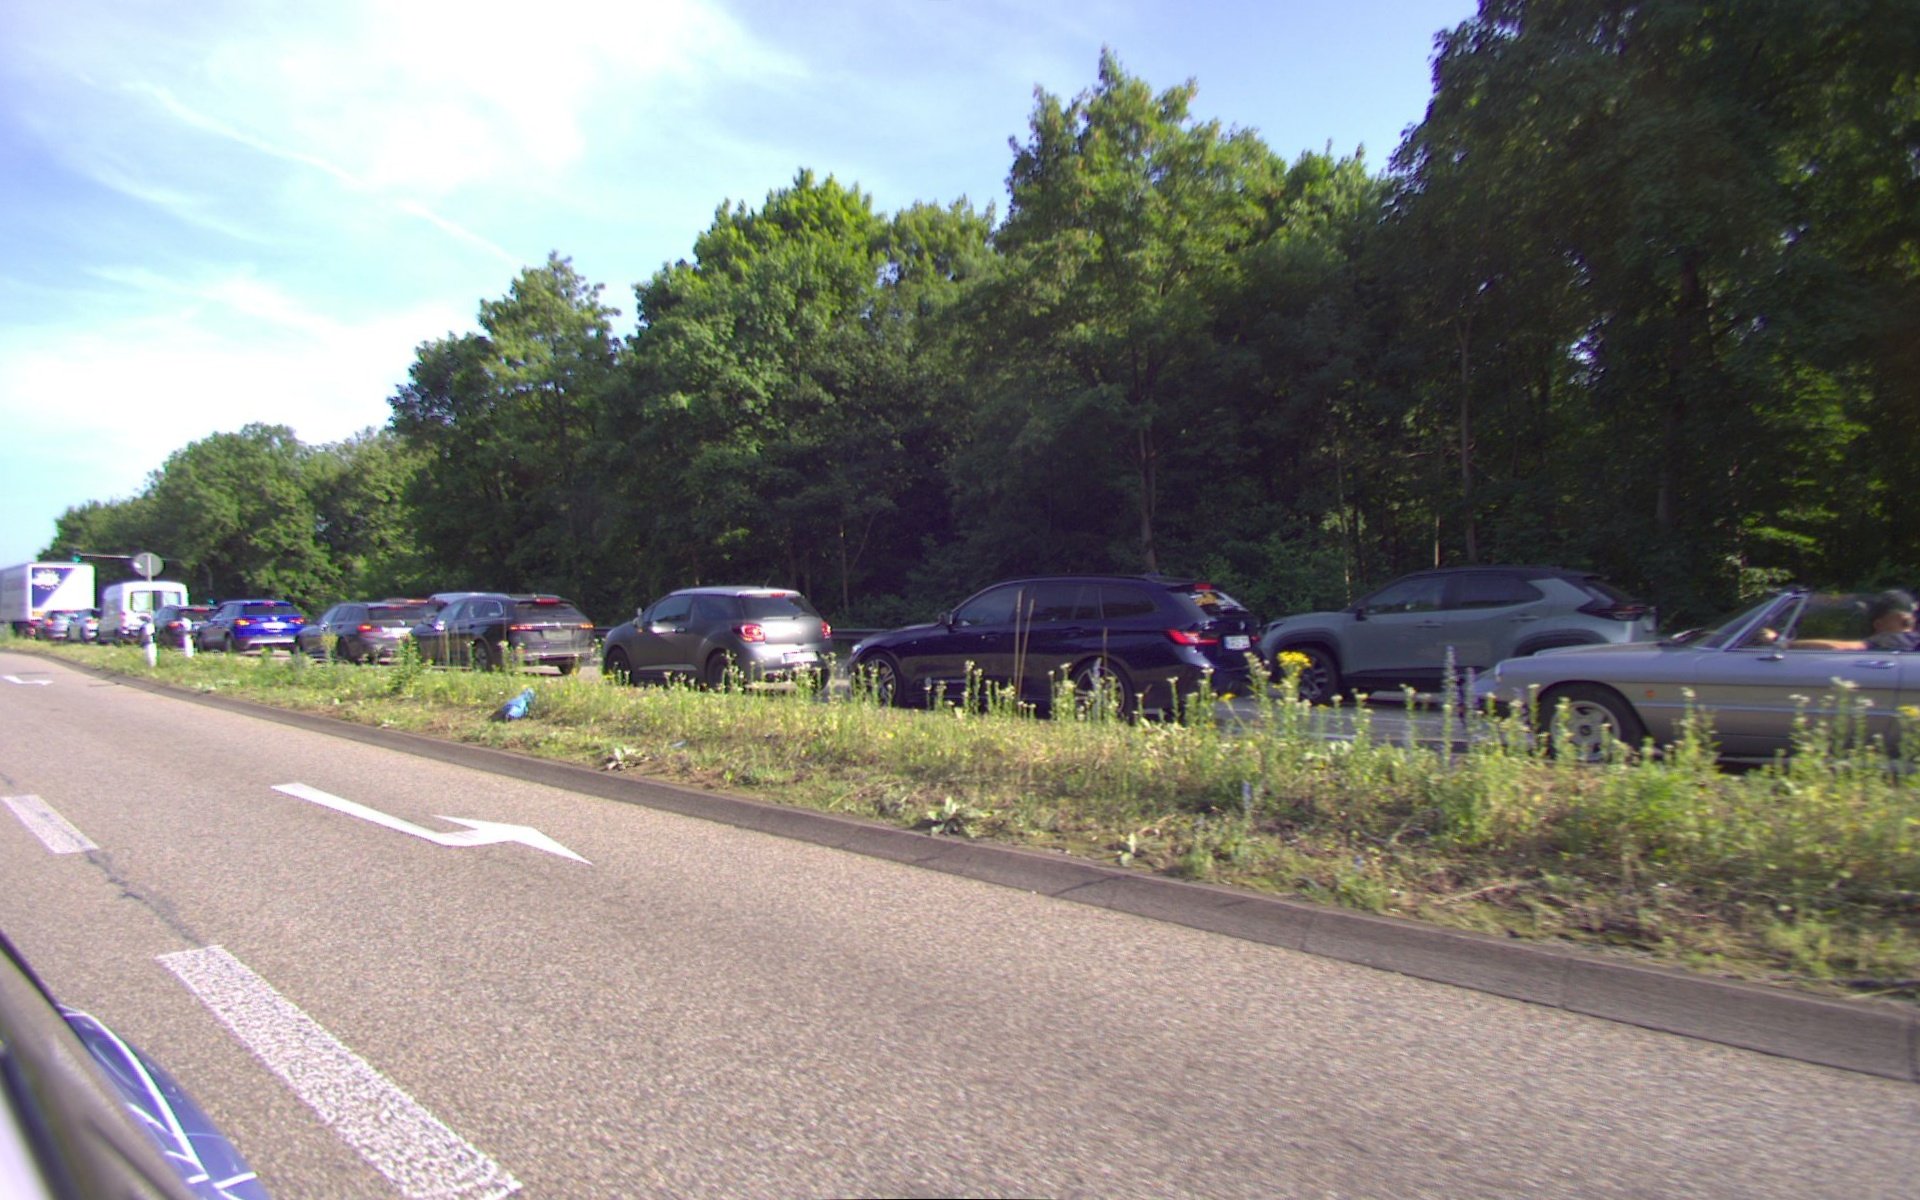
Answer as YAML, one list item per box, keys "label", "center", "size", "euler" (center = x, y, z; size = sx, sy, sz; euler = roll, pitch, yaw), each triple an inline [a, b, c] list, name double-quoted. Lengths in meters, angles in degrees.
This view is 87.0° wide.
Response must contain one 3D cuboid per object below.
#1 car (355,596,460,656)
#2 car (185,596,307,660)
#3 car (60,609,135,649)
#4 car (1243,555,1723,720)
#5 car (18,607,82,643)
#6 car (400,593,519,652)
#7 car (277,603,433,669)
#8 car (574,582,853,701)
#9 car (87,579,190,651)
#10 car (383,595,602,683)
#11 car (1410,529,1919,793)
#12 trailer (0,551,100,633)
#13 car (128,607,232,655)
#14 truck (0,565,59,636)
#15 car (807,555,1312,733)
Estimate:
- label: "car"
  center: [-16.919, 0.813, 30.953]
  size: [3.572, 1.719, 1.608]
  euler: [-2, -3, 40]
- label: "car"
  center: [-20.380, 0.801, 28.809]
  size: [4.798, 1.682, 1.753]
  euler: [-2, -1, 41]
- label: "car"
  center: [-37.399, 1.272, 43.843]
  size: [4.743, 1.644, 1.683]
  euler: [-2, -1, 40]
- label: "car"
  center: [5.617, 0.390, 11.227]
  size: [4.413, 1.472, 1.848]
  euler: [-2, -1, 41]
- label: "car"
  center: [-43.473, 1.210, 48.307]
  size: [4.367, 1.644, 1.683]
  euler: [-2, -1, 40]
- label: "car"
  center: [-17.959, 0.838, 36.195]
  size: [5.099, 1.950, 1.990]
  euler: [-2, -4, 41]
- label: "car"
  center: [-14.222, 0.819, 23.678]
  size: [4.841, 1.390, 1.753]
  euler: [-2, -1, 41]
- label: "car"
  center: [-3.564, 0.547, 14.184]
  size: [4.209, 1.434, 1.689]
  euler: [-2, -1, 41]
- label: "car"
  center: [-31.390, 0.614, 38.606]
  size: [6.160, 2.553, 2.053]
  euler: [-2, -1, 41]
- label: "car"
  center: [-8.804, 0.699, 18.818]
  size: [5.190, 1.434, 1.753]
  euler: [-2, -1, 41]
- label: "car"
  center: [5.450, 0.340, 6.400]
  size: [4.432, 1.428, 1.748]
  euler: [-2, -1, 41]
- label: "trailer"
  center: [-50.927, -0.299, 55.781]
  size: [14.002, 4.025, 2.962]
  euler: [-2, 1, 40]
- label: "car"
  center: [-25.604, 1.008, 33.153]
  size: [5.183, 1.467, 1.742]
  euler: [-2, -1, 41]
- label: "truck"
  center: [-56.588, 0.078, 60.546]
  size: [6.715, 4.027, 2.862]
  euler: [-2, 1, 40]
- label: "car"
  center: [0.770, 0.419, 10.542]
  size: [5.190, 1.434, 1.748]
  euler: [-2, -1, 41]
